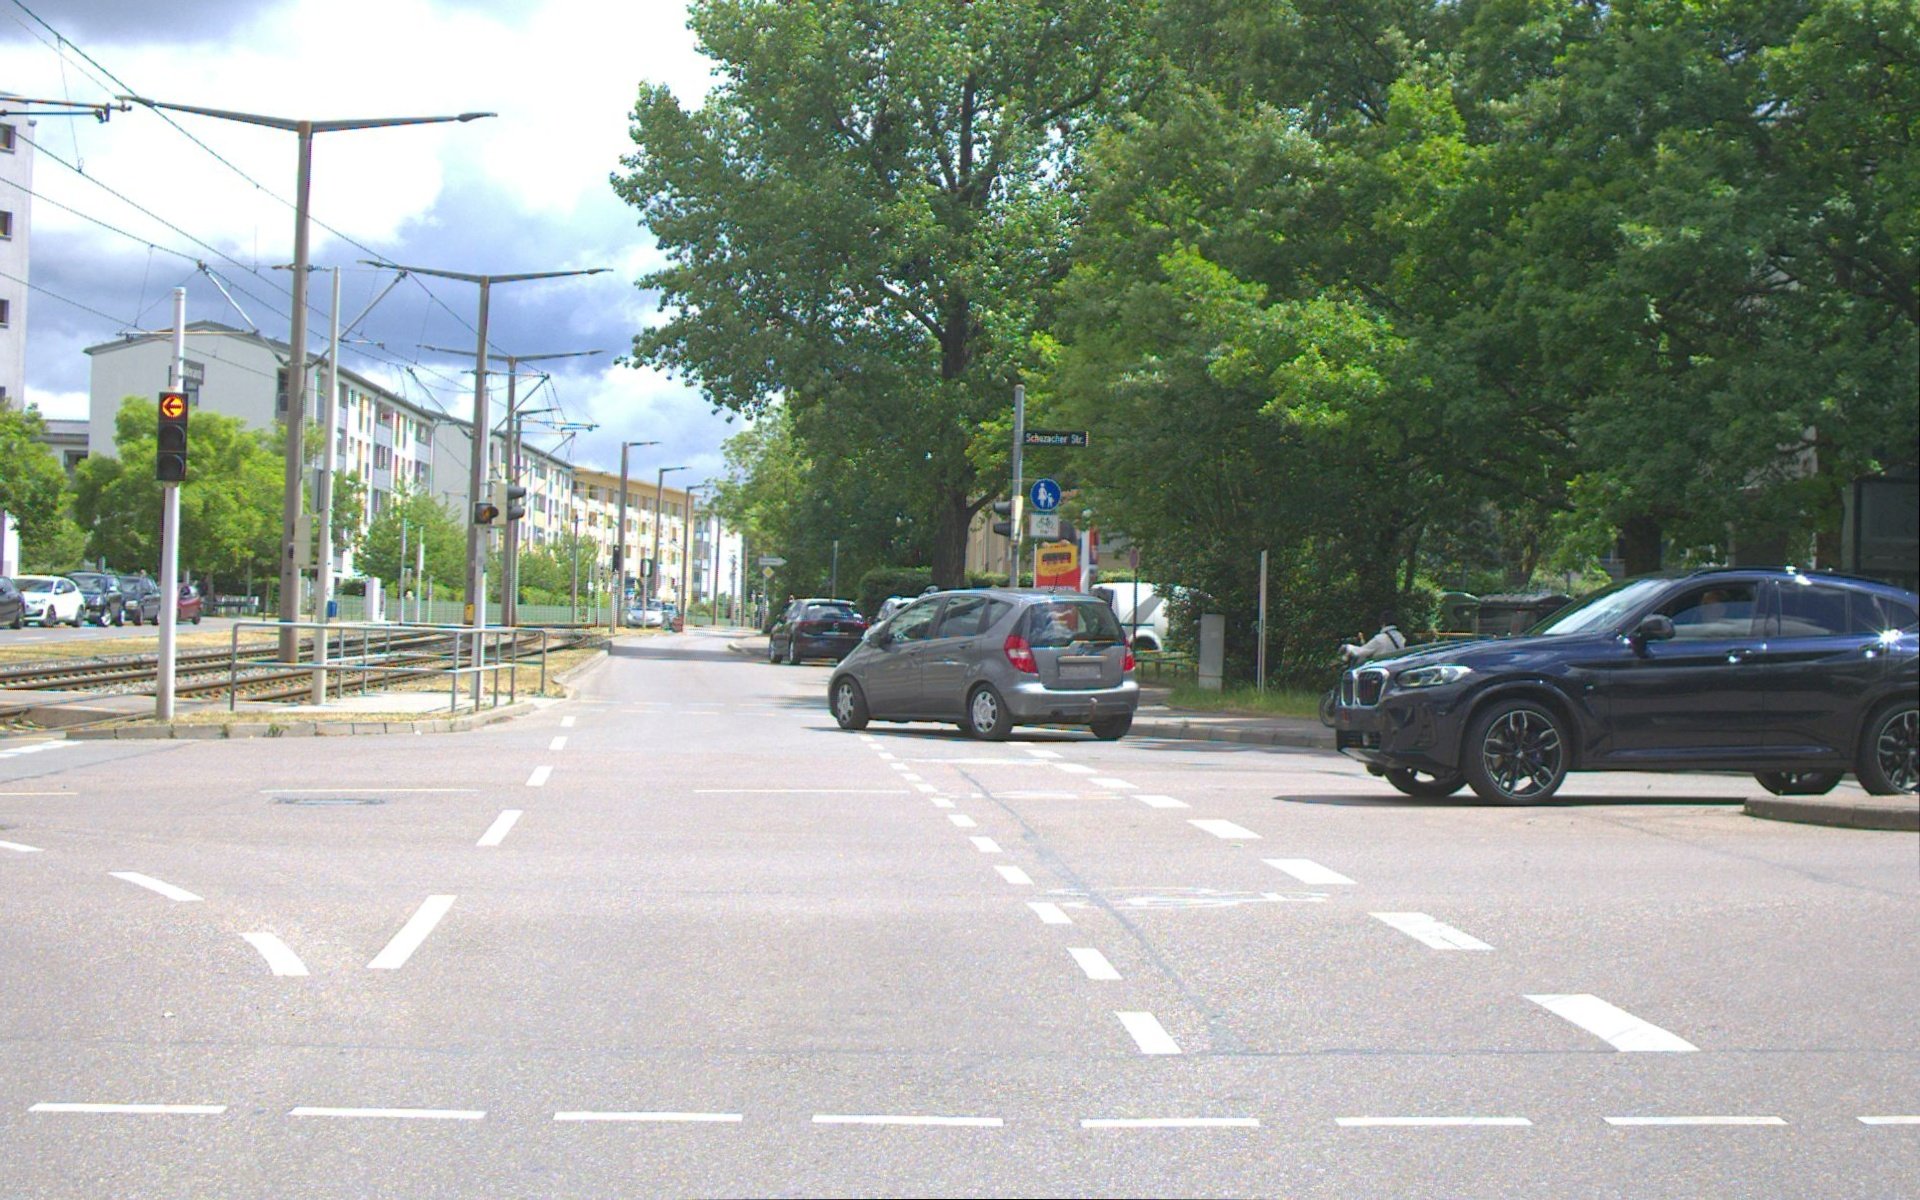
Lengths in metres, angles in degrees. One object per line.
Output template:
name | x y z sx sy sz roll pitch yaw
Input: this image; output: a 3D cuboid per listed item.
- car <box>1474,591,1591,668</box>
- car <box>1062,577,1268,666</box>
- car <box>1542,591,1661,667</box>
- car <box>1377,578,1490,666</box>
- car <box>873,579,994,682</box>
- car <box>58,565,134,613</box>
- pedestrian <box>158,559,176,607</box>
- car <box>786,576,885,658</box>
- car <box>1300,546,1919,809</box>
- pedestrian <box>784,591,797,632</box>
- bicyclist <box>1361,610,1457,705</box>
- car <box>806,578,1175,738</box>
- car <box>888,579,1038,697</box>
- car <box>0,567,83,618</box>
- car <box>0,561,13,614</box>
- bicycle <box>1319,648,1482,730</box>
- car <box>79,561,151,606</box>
car | 12.481 0.618 75.128 1.630 1.567 4.033 1 1 -4
car | 4.369 0.452 73.333 3.986 1.817 1.779 1 1 -23
car | 14.255 0.625 76.584 1.630 1.589 4.001 1 1 -4
car | 10.247 0.450 74.592 1.630 1.804 4.033 1 1 -4
car | -0.467 0.525 59.256 1.993 1.678 4.000 1 0 -1
car | -26.375 -0.358 105.084 1.760 1.390 4.001 1 1 -7
pedestrian | -26.818 -0.575 116.296 0.453 1.631 0.480 1 1 3
car | -2.668 0.351 74.481 1.993 1.678 4.000 1 1 -1
car | 4.869 0.521 23.955 4.557 1.711 2.001 1 1 -12
pedestrian | -6.824 0.453 138.314 0.478 1.631 0.454 1 1 -1
bicyclist | 4.920 0.628 37.696 0.791 1.019 0.636 1 1 -33
car | 0.268 0.582 36.687 1.994 1.550 3.919 1 1 -35
car | 0.022 0.561 51.809 2.152 1.678 4.000 1 0 -1
car | -26.298 -0.216 98.492 1.760 1.390 4.001 1 1 -7
car | -26.304 -0.343 91.078 1.760 1.390 4.001 1 1 -7
bicycle | 4.824 0.968 37.739 0.791 0.816 1.808 1 1 -32
car | -26.930 -0.542 109.647 1.760 1.390 4.001 1 1 -7
